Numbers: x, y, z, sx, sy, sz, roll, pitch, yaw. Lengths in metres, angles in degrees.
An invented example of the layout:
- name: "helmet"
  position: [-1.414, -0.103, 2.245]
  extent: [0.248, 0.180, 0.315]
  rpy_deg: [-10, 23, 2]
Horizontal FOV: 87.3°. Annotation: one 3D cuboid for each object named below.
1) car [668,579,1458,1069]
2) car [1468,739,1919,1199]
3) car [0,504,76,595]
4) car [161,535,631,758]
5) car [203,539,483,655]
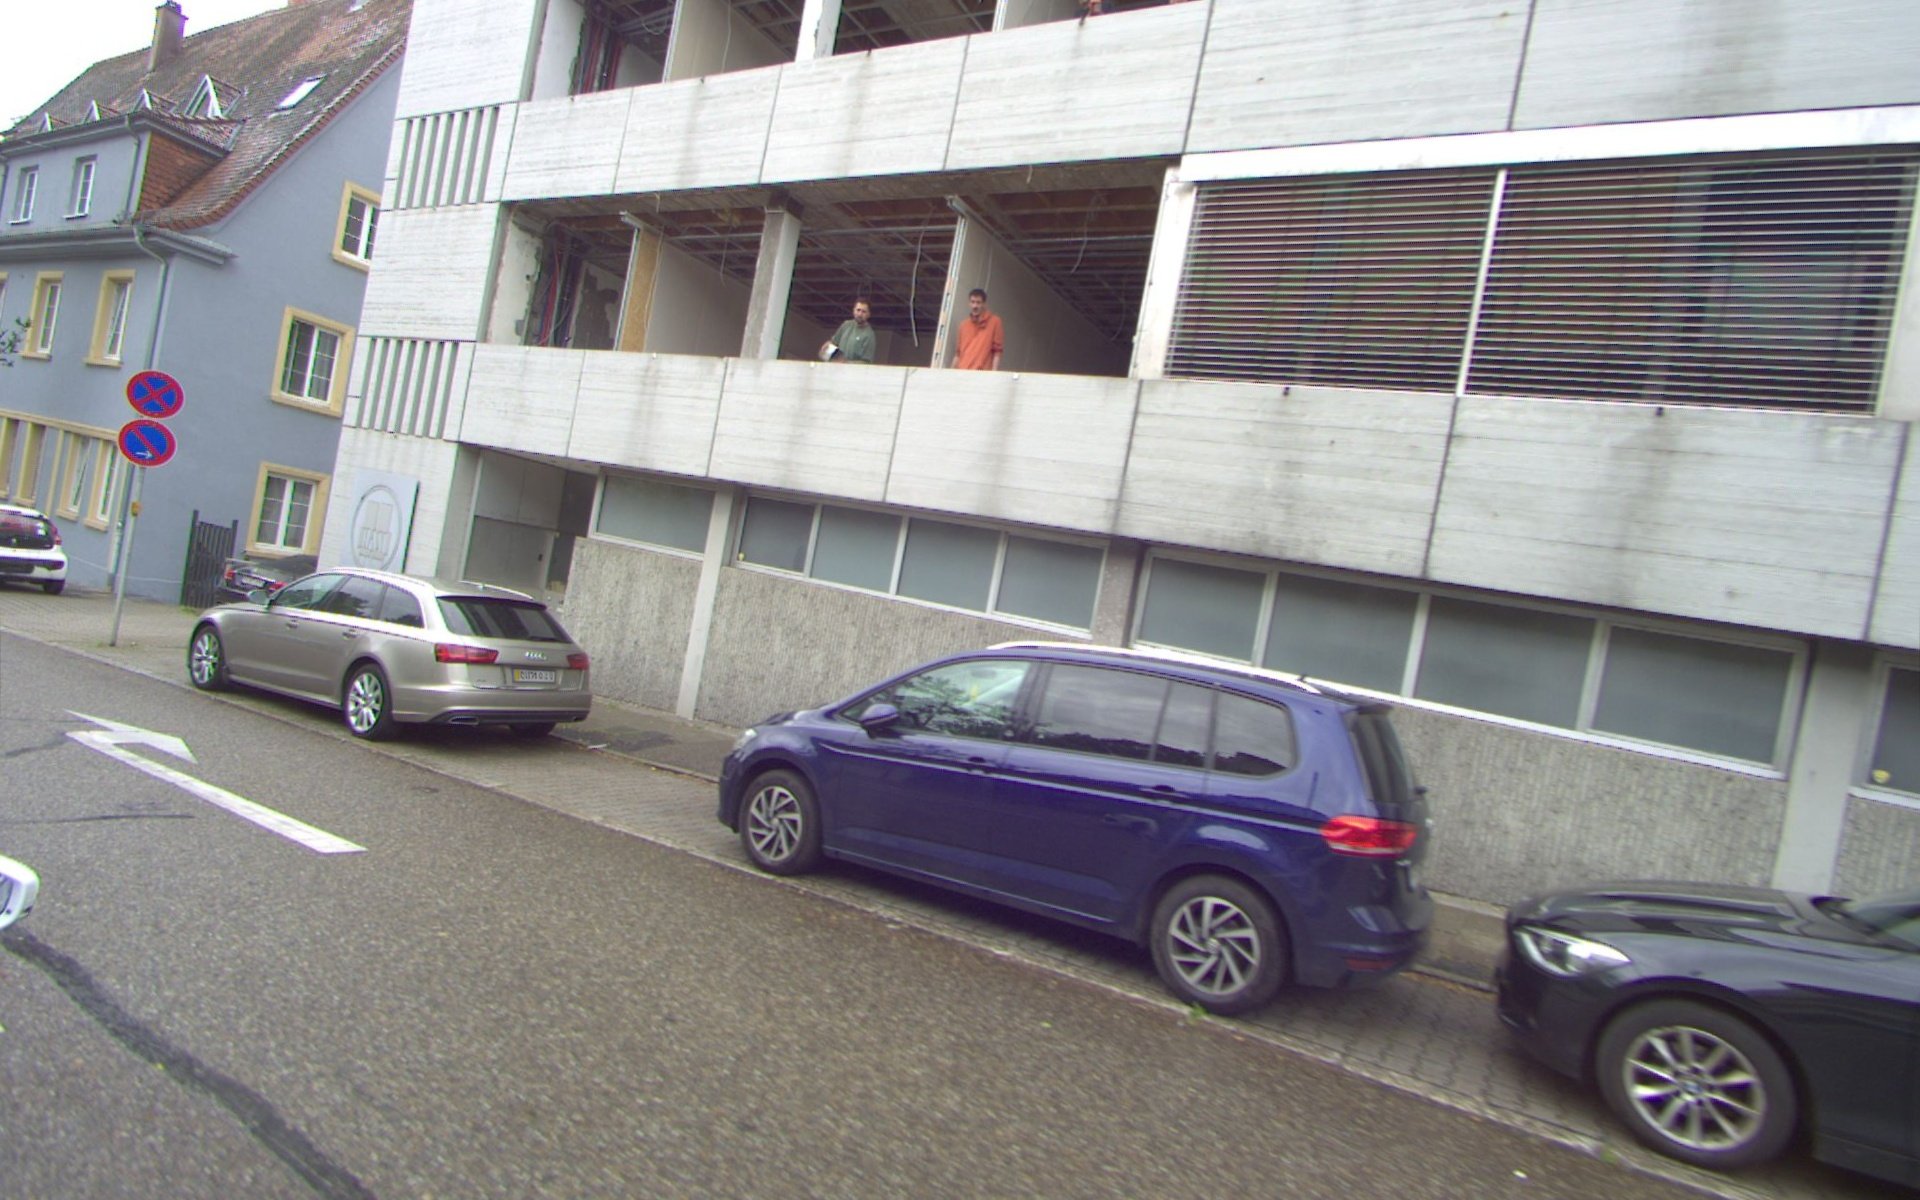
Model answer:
- name: "car"
  position: [0.492, 1.012, 6.103]
  extent: [4.272, 1.694, 1.749]
  rpy_deg: [7, -2, 31]
- name: "car"
  position: [4.366, 1.608, 3.841]
  extent: [4.032, 1.461, 1.709]
  rpy_deg: [7, -2, 35]
- name: "car"
  position: [-17.595, -1.028, 17.924]
  extent: [3.396, 1.429, 1.590]
  rpy_deg: [7, 0, 28]
- name: "car"
  position: [-5.717, 0.389, 10.049]
  extent: [4.661, 1.476, 1.819]
  rpy_deg: [7, -2, 29]
- name: "car"
  position: [-11.219, 0.053, 18.746]
  extent: [1.774, 1.421, 4.380]
  rpy_deg: [8, -5, 12]
